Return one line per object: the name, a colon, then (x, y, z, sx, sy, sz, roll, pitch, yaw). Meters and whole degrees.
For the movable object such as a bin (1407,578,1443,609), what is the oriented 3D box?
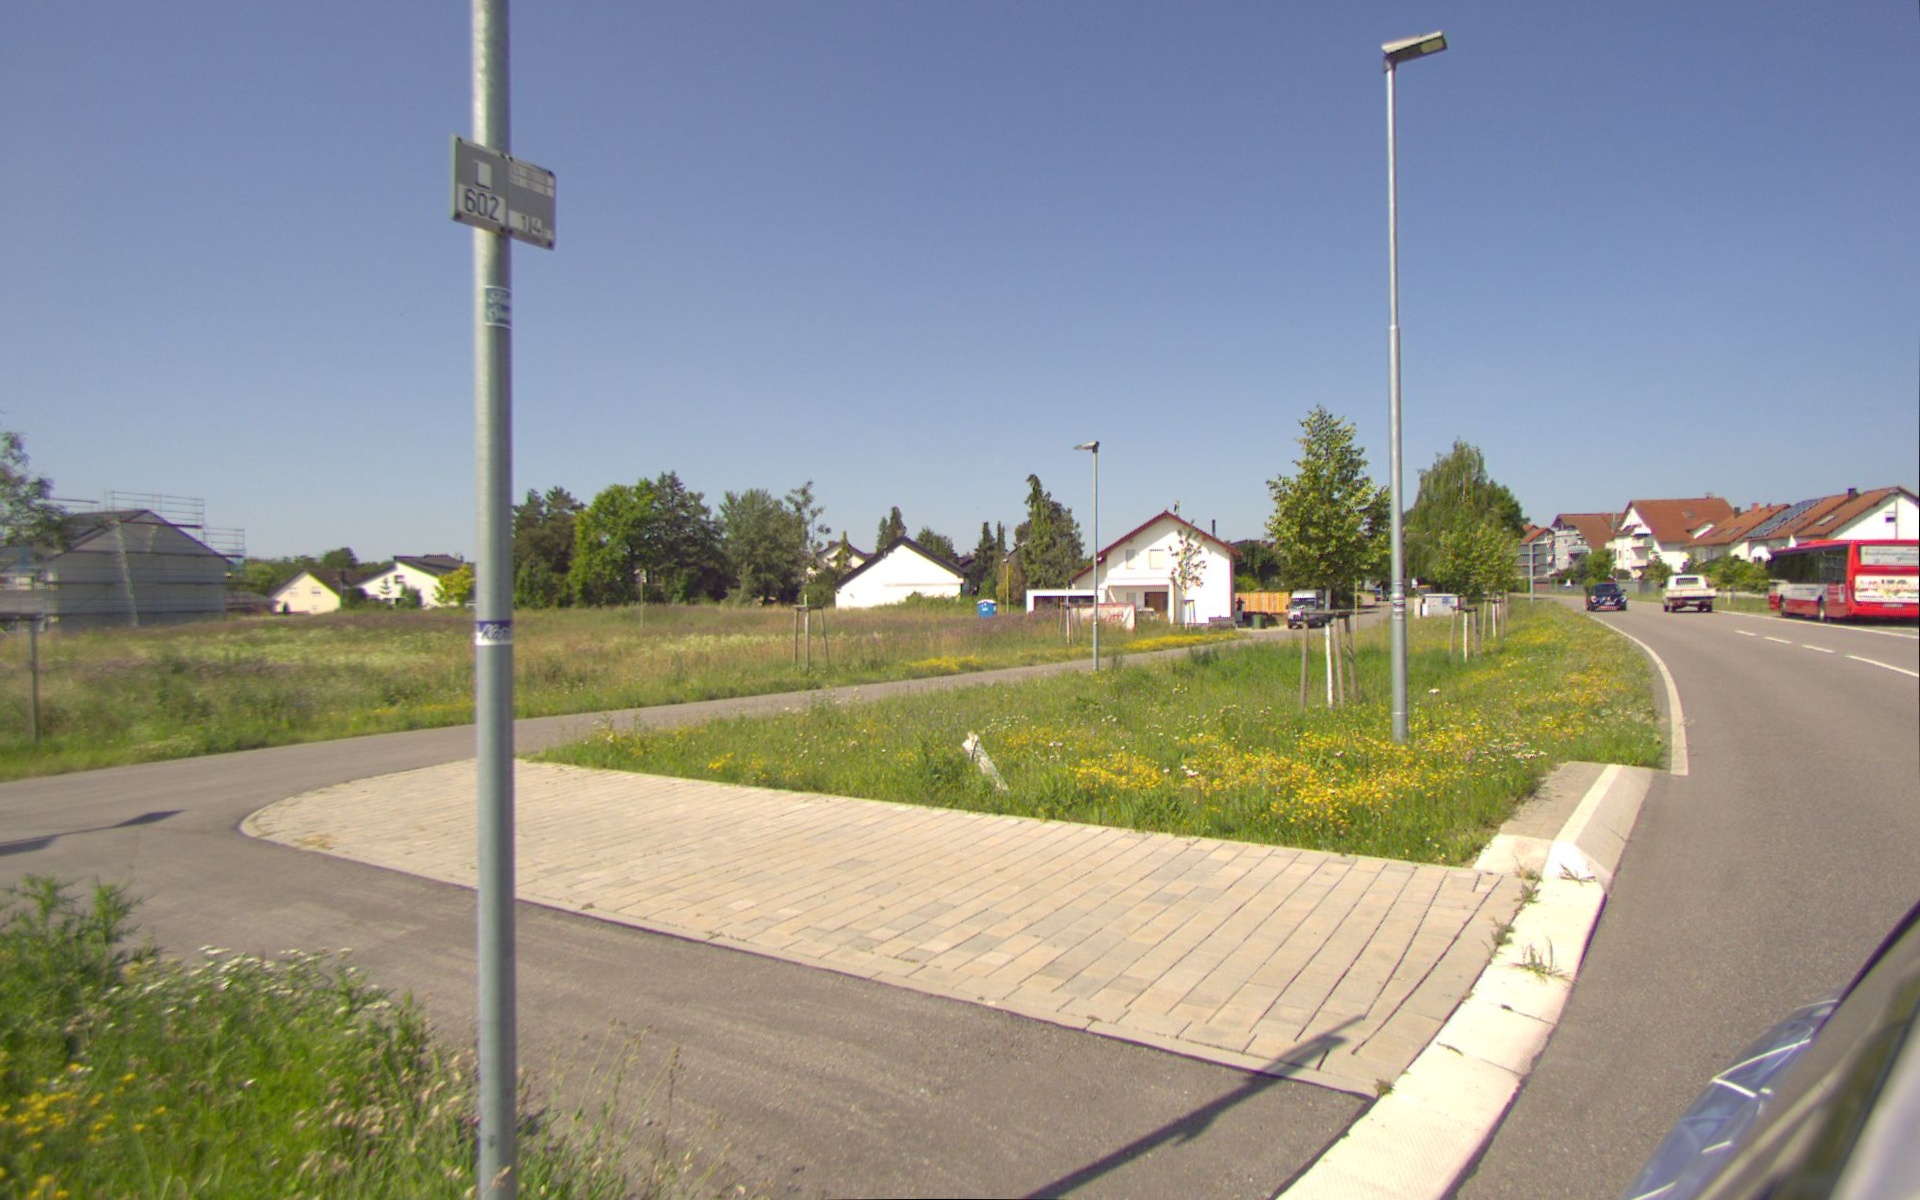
movable object such as a bin: (40.191, -0.539, 87.339, 2.303, 2.494, 6.875, -1, 0, 29)

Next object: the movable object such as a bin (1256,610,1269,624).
movable object such as a bin: (20.674, 1.154, 69.137, 0.690, 0.949, 0.631, -2, 0, 34)

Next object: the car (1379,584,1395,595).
car: (59.717, -1.484, 141.516, 1.845, 1.463, 4.133, -3, 0, 25)

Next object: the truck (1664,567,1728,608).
truck: (39.057, -0.682, 53.858, 1.940, 2.010, 5.588, -3, -1, 29)

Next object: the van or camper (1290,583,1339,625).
van or camper: (24.701, 0.222, 70.442, 2.160, 2.633, 5.970, -2, 1, 29)

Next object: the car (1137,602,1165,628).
car: (13.099, 1.018, 69.387, 1.541, 1.577, 4.468, -3, 0, 14)

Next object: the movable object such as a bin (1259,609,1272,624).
movable object such as a bin: (21.046, 1.131, 69.712, 0.690, 0.949, 0.631, -2, 0, 34)

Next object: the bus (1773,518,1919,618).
bus: (34.684, -1.162, 39.240, 2.779, 3.328, 12.105, 1, 1, 29)

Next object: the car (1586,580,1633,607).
car: (39.075, -0.373, 60.951, 1.915, 1.581, 3.963, -1, 0, 26)
